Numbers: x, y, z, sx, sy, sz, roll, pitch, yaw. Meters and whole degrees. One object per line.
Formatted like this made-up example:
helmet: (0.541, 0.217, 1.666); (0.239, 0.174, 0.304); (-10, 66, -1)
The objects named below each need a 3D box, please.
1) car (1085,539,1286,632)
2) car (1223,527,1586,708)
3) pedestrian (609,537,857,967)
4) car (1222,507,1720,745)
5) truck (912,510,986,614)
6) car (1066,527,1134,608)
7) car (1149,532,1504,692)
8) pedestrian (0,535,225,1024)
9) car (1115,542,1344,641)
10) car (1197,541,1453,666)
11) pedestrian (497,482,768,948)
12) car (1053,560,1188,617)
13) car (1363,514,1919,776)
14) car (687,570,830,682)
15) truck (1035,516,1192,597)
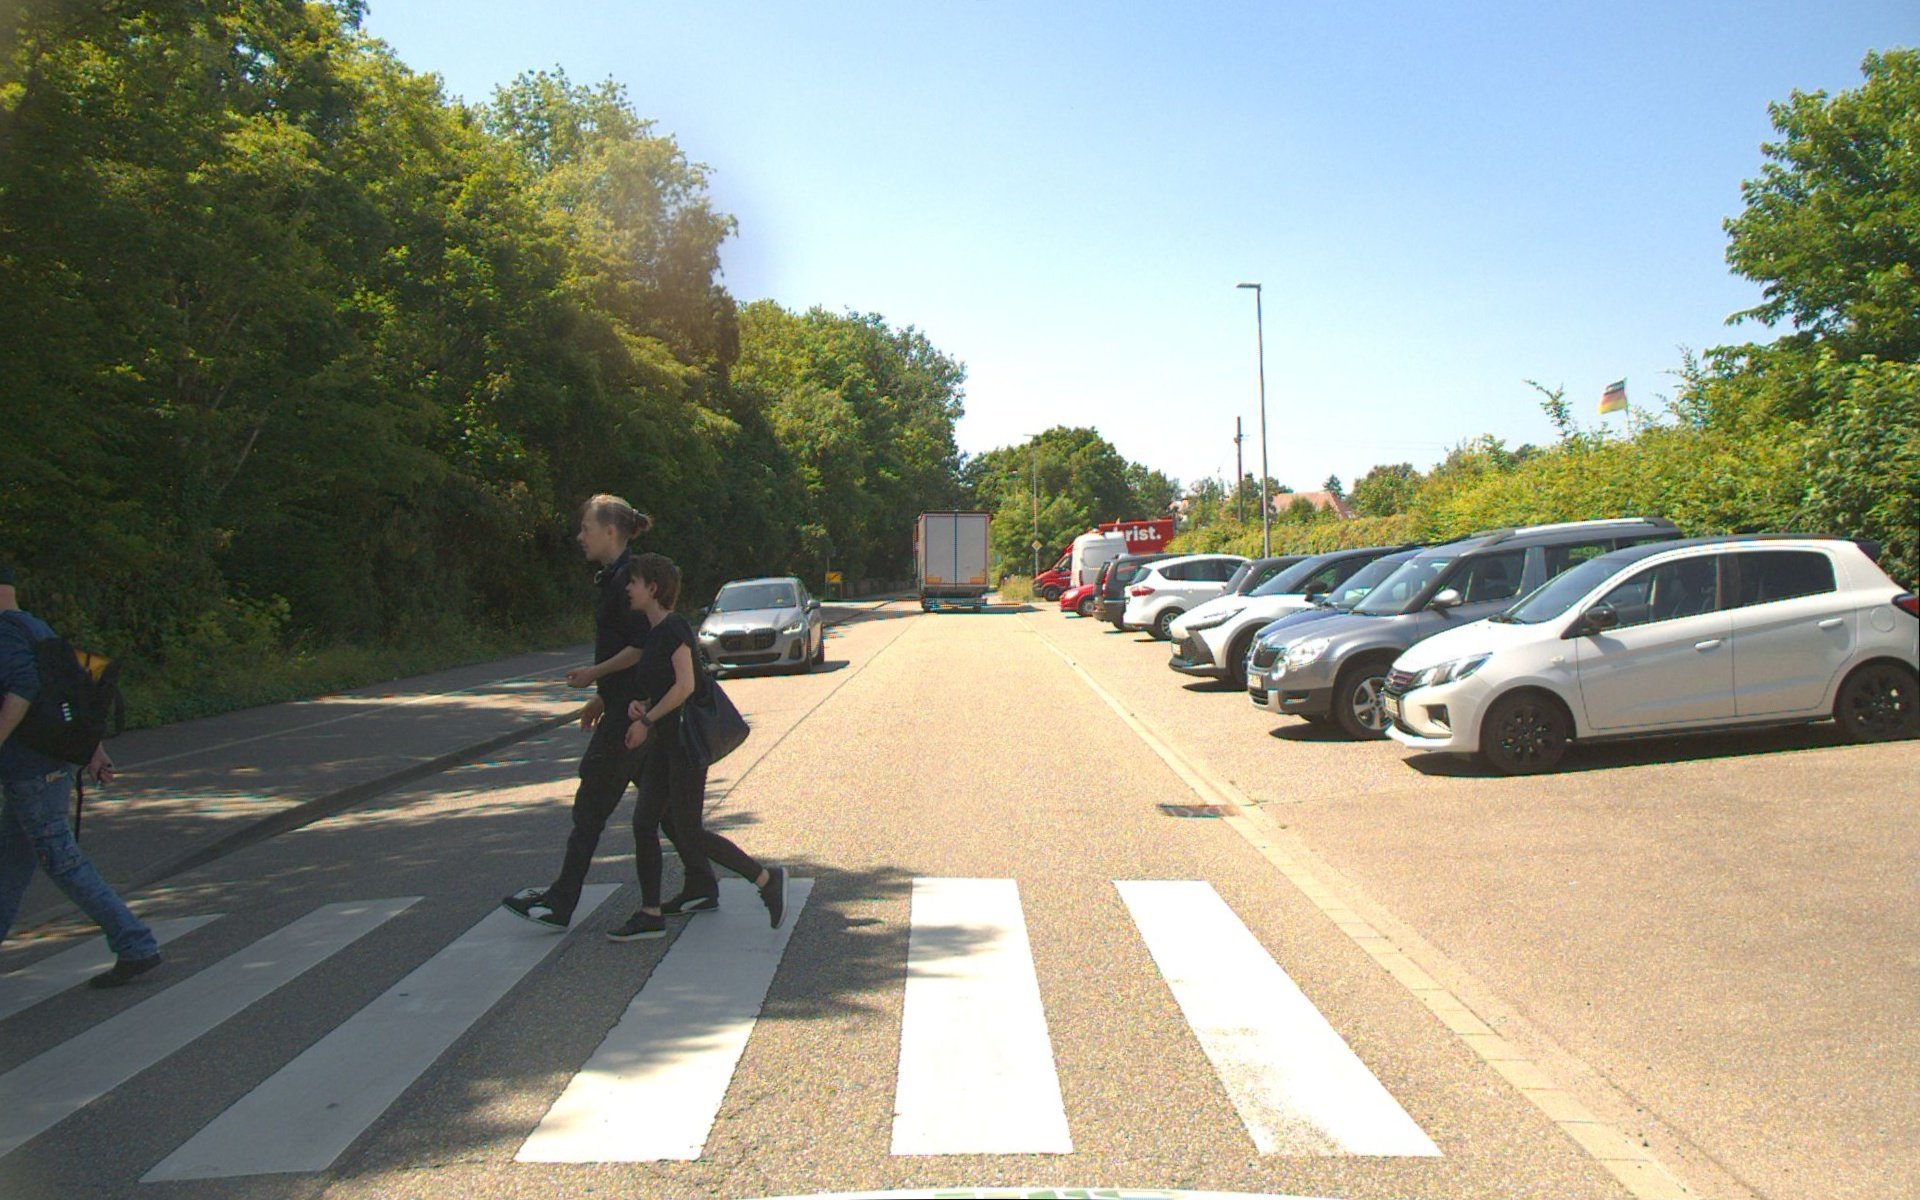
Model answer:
car: (5.336, -0.352, 39.482); (4.366, 1.836, 1.951); (-4, 0, -4)
car: (4.760, 0.161, 17.951); (3.386, 1.553, 1.538); (-6, 1, -5)
pedestrian: (-0.961, 0.580, 6.880); (0.879, 1.639, 0.777); (-2, 0, -16)
car: (4.546, 0.197, 15.018); (3.885, 1.668, 1.662); (-6, 1, -6)
truck: (-0.313, -1.507, 67.871); (2.677, 3.811, 13.247); (-1, 1, 1)
car: (5.232, -1.246, 62.822); (1.914, 2.780, 7.169); (-4, 1, 1)
car: (4.540, 0.119, 20.817); (3.887, 1.549, 1.862); (-6, 1, -6)
pedestrian: (-3.794, 0.693, 6.632); (1.132, 1.781, 1.022); (-5, 0, -4)
car: (5.366, -0.187, 33.271); (4.191, 1.605, 1.765); (-4, 1, -2)
car: (5.188, 0.030, 23.819); (3.317, 1.529, 1.589); (-4, 1, 3)
pedestrian: (-1.465, 0.460, 7.308); (1.065, 1.897, 0.780); (-2, 0, -16)
car: (5.043, -0.373, 52.343); (3.974, 1.458, 1.835); (-4, 1, -3)
car: (4.990, 0.289, 12.148); (3.613, 1.475, 1.611); (-5, 1, 3)
car: (-3.322, 0.371, 27.985); (1.853, 1.558, 4.196); (-6, 1, -1)
truck: (7.180, -2.025, 76.965); (6.984, 3.500, 2.332); (-1, 2, 11)
